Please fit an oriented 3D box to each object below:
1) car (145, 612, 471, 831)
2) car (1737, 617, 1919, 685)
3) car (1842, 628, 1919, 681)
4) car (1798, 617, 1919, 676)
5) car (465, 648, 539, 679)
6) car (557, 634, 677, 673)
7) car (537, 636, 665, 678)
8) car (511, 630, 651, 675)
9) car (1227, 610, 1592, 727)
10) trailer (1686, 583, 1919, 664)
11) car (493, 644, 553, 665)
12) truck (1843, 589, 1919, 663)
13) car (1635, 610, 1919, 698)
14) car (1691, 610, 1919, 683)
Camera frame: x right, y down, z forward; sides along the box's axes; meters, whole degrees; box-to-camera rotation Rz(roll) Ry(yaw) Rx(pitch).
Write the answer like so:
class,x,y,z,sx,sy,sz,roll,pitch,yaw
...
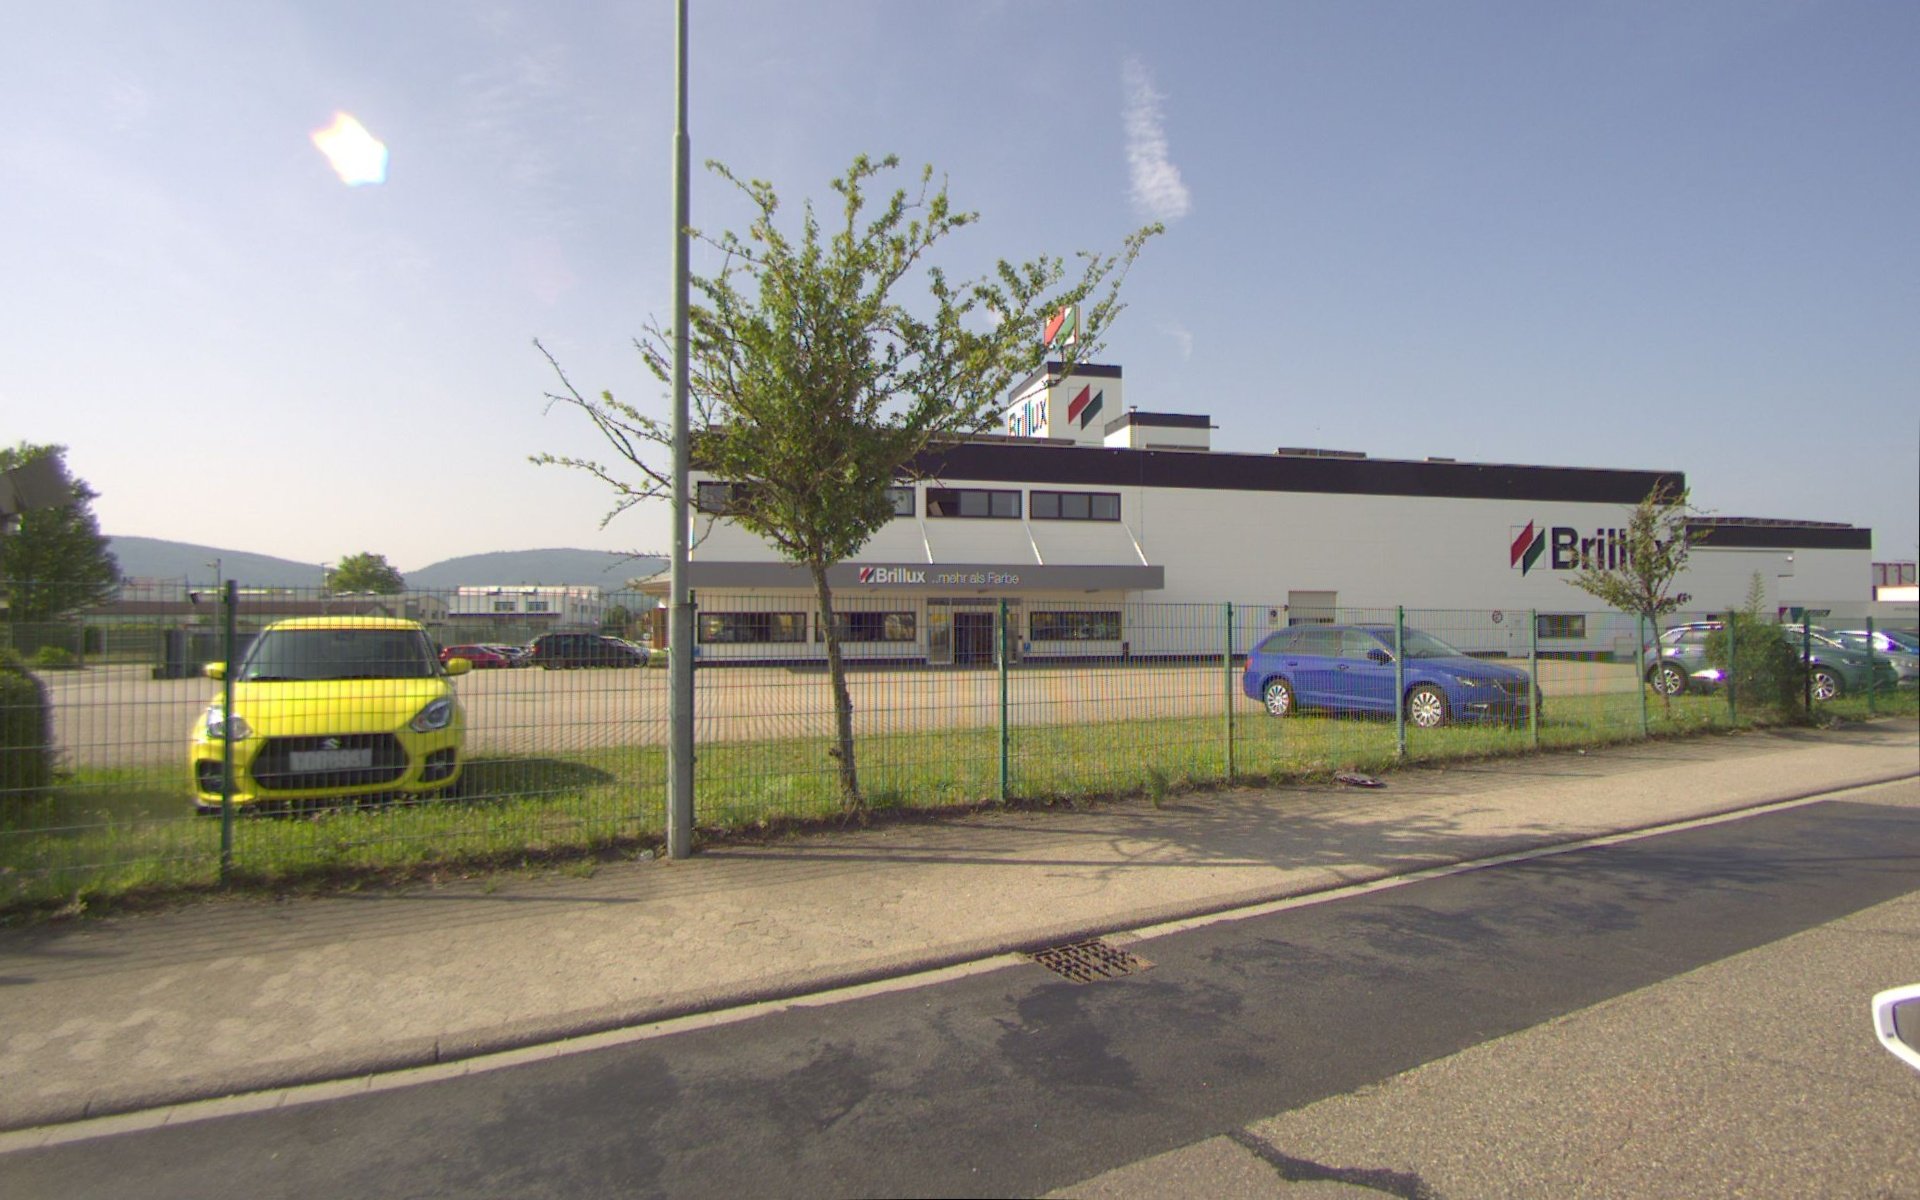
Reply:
class,x,y,z,sx,sy,sz,roll,pitch,yaw
car,-5.357,0.853,8.654,1.846,1.386,4.146,1,-2,-29
car,20.913,1.195,23.406,1.852,1.463,4.022,1,-4,-30
car,27.682,1.486,27.794,1.929,1.463,4.515,1,-4,-30
car,24.299,1.181,25.655,1.852,1.463,4.022,1,-4,-30
car,-27.840,3.831,61.100,3.953,1.728,1.777,1,-2,-30
car,-16.045,2.500,47.067,5.004,1.724,1.984,1,-3,-31
car,-15.606,2.464,43.730,5.004,1.724,1.984,1,-3,-31
car,-15.291,2.102,40.658,5.008,1.724,1.982,1,-3,-33
car,6.460,0.999,15.056,2.054,1.463,4.664,1,-4,-30
trailer,47.062,1.368,56.031,13.656,4.095,2.482,2,0,-15
car,-29.605,3.667,68.080,3.518,1.326,1.608,2,0,-30
truck,54.410,1.531,58.025,5.452,4.125,2.513,2,0,-15
car,16.495,1.110,20.485,1.843,1.588,4.108,1,-4,-30
car,19.098,1.067,22.475,1.852,1.463,4.022,1,-4,-30
